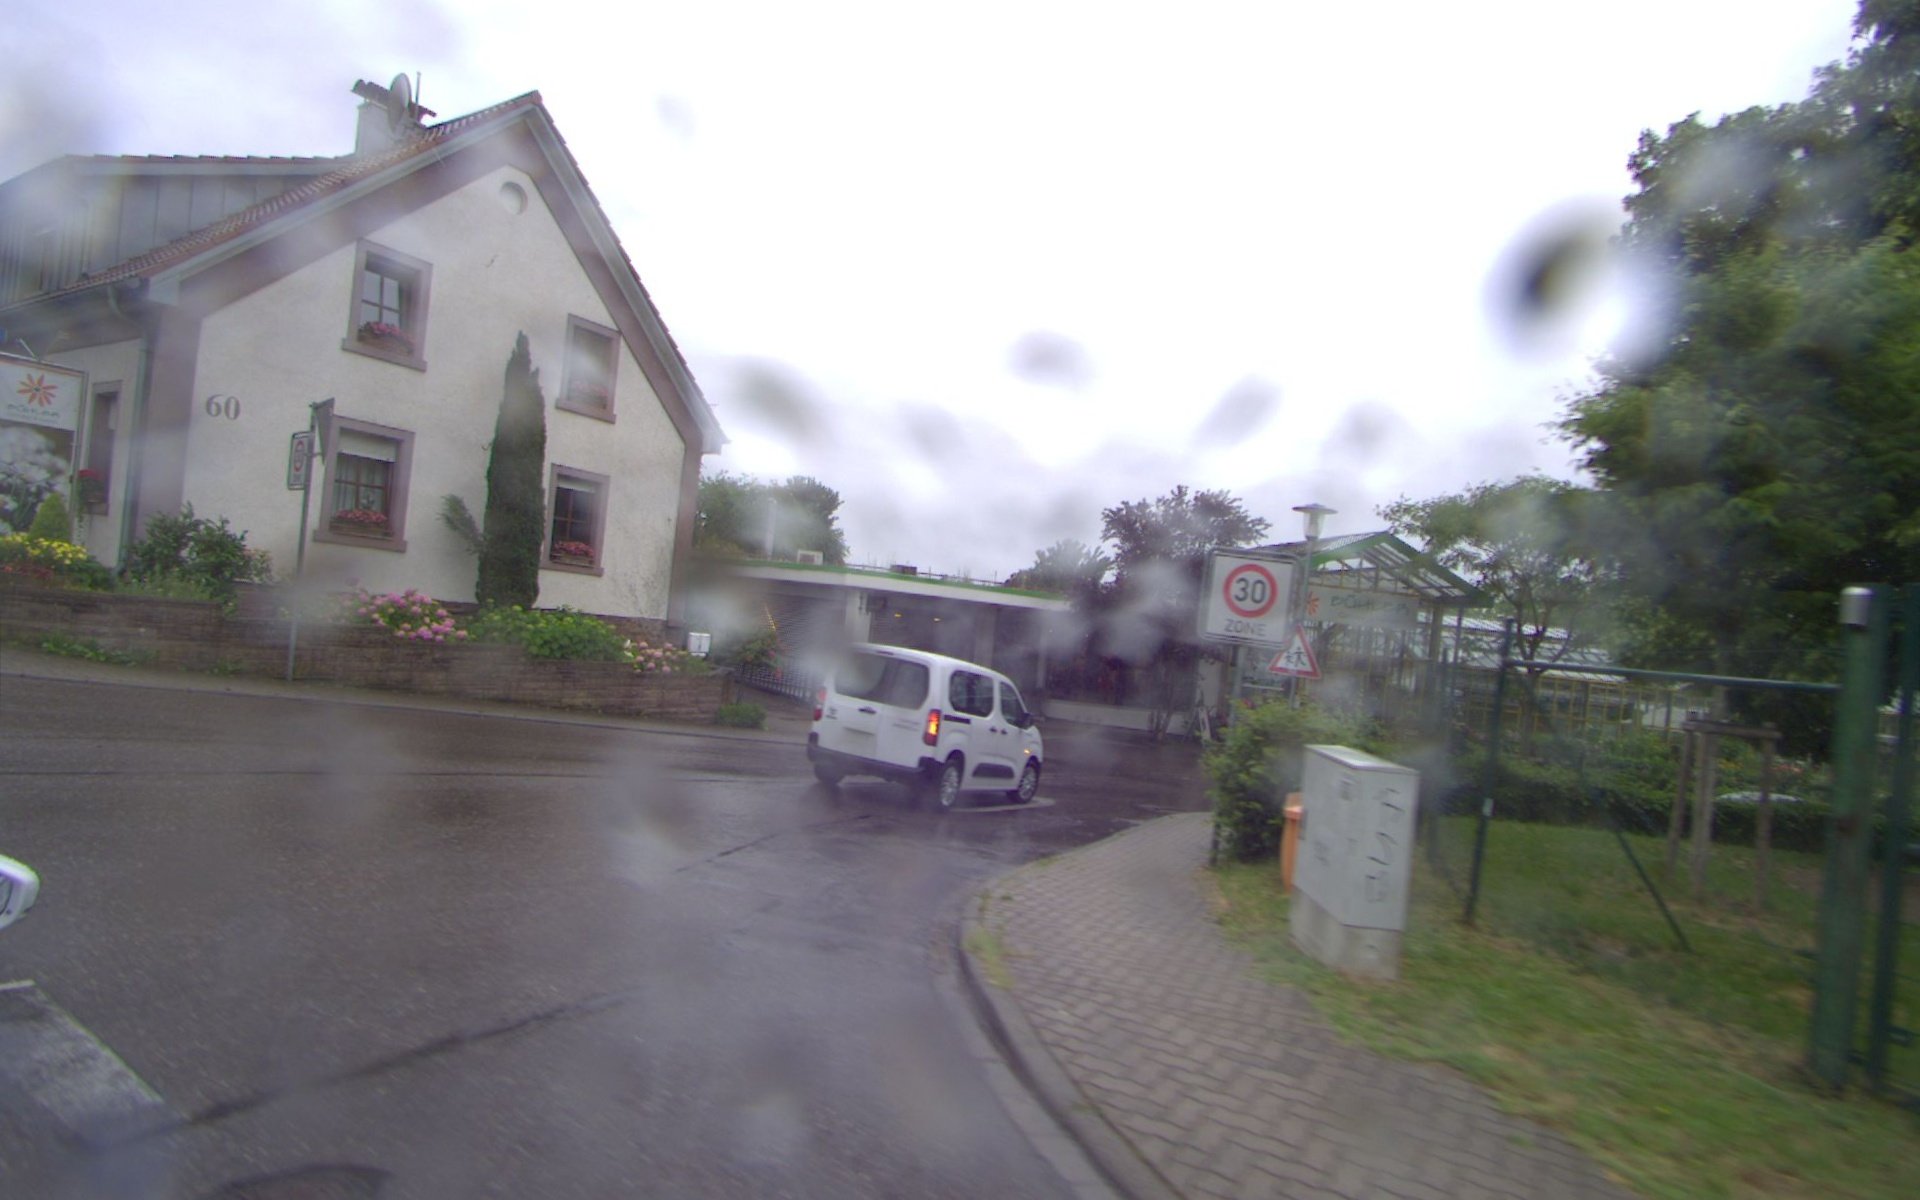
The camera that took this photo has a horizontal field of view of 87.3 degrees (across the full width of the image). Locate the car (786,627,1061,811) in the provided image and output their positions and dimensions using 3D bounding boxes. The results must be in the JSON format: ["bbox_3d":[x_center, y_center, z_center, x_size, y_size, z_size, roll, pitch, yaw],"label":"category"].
[{"bbox_3d":[-0.282,1.617,13.297,1.869,1.824,4.008,7,-6,24],"label":"car"}]
